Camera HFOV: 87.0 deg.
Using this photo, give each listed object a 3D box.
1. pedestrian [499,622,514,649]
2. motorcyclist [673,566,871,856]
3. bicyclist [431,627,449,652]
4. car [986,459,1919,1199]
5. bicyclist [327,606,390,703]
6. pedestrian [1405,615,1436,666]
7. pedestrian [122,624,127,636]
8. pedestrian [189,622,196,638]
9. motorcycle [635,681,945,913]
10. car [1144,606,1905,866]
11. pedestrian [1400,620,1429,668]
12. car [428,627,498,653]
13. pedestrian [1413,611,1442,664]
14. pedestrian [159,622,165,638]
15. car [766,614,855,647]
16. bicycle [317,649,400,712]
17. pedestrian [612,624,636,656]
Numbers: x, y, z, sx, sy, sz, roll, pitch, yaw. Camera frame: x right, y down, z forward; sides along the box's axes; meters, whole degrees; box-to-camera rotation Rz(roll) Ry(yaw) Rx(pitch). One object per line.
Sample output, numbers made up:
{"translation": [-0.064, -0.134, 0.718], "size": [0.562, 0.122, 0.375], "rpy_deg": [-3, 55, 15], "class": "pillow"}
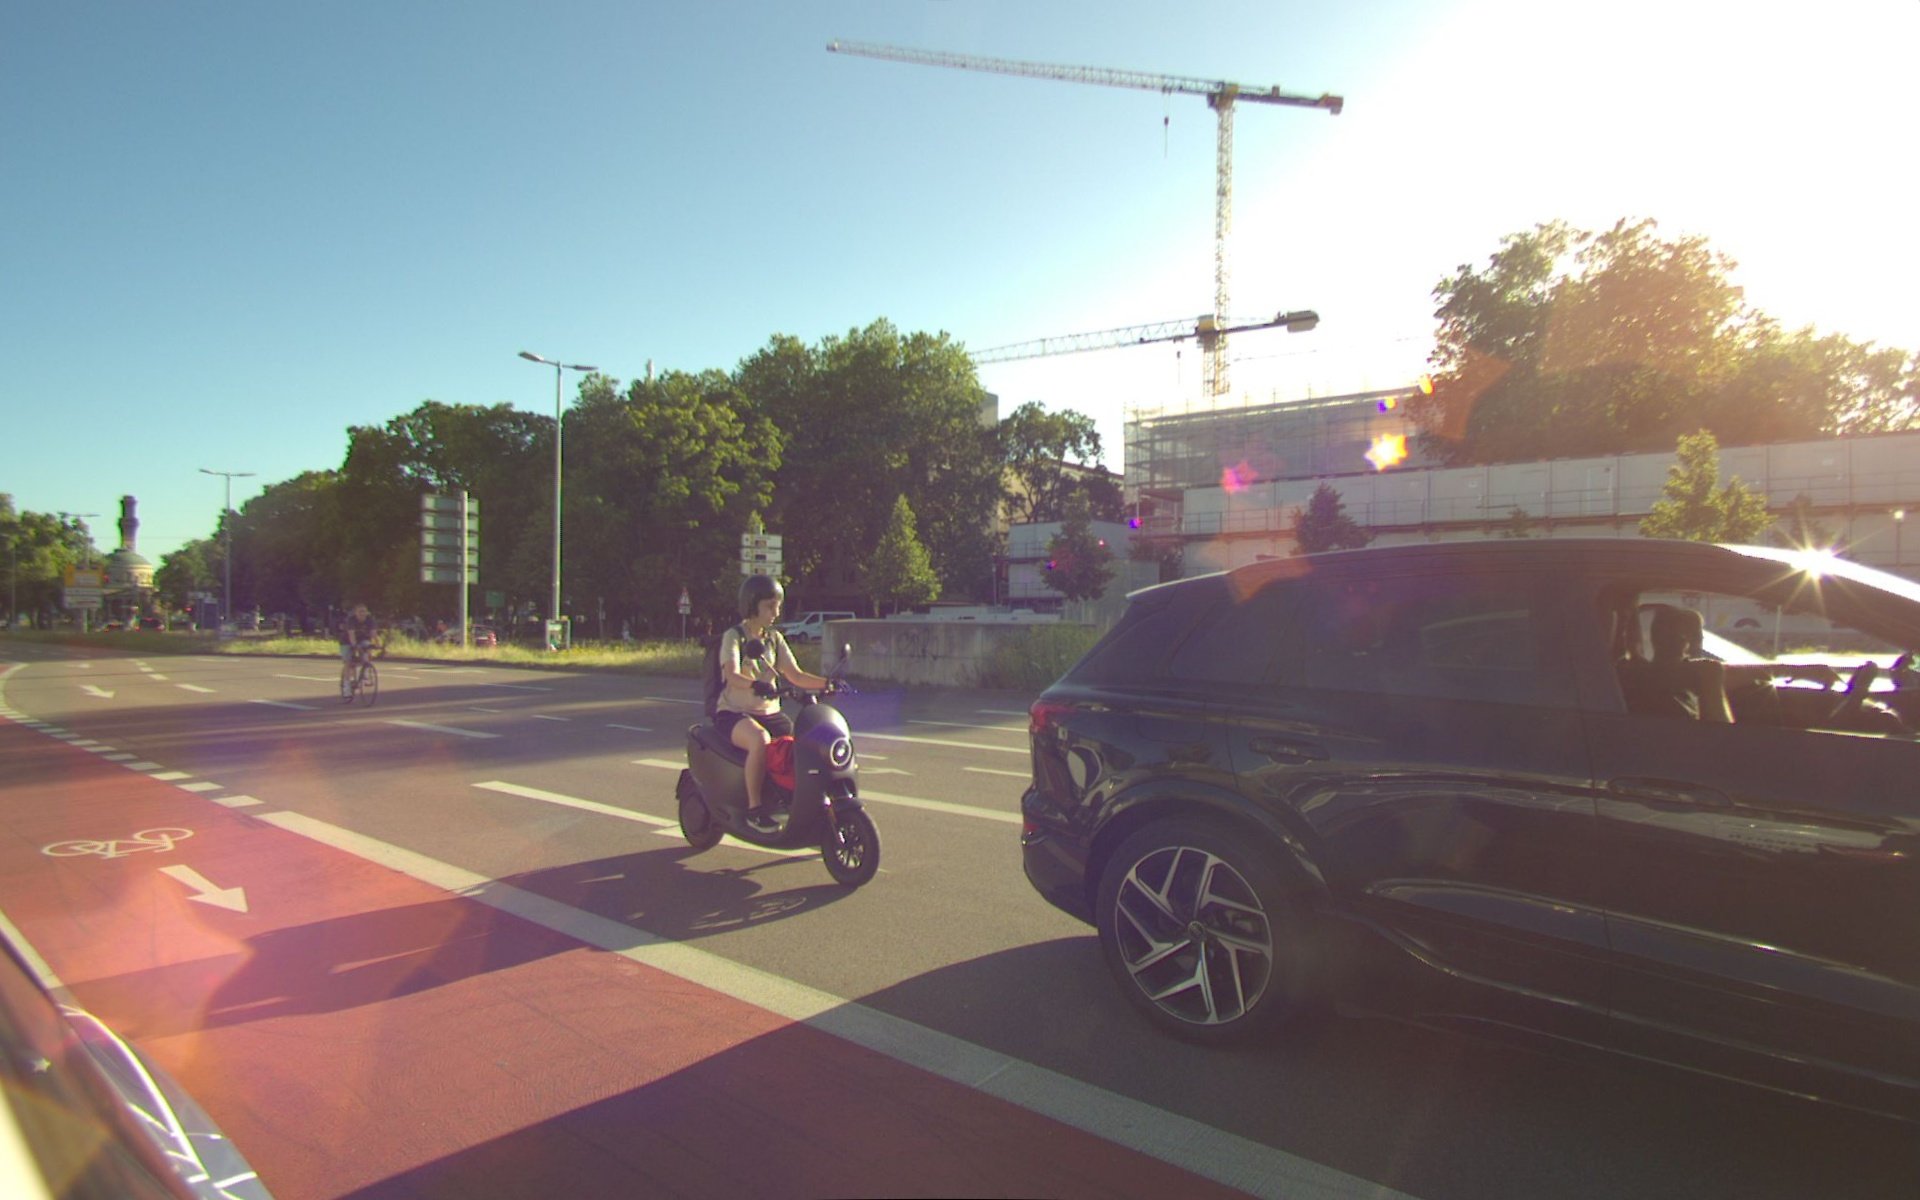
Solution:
{"translation": [-29.880, 2.346, 66.675], "size": [0.697, 1.740, 0.656], "rpy_deg": [-1, -2, 41], "class": "pedestrian"}
{"translation": [-1.083, 0.581, 5.810], "size": [0.746, 1.495, 0.882], "rpy_deg": [0, -1, -45], "class": "motorcyclist"}
{"translation": [-28.128, 2.123, 54.708], "size": [0.768, 1.377, 0.609], "rpy_deg": [-1, -2, 41], "class": "bicyclist"}
{"translation": [2.629, 0.553, 3.103], "size": [4.786, 1.675, 2.172], "rpy_deg": [-1, -2, 39], "class": "car"}
{"translation": [-9.691, 0.860, 16.295], "size": [0.937, 1.515, 0.616], "rpy_deg": [-1, -1, 42], "class": "bicyclist"}
{"translation": [14.564, 1.276, 31.998], "size": [0.654, 1.601, 0.829], "rpy_deg": [-1, -2, 41], "class": "pedestrian"}
{"translation": [-110.647, 3.949, 134.026], "size": [0.499, 1.570, 0.437], "rpy_deg": [-1, -2, 41], "class": "pedestrian"}
{"translation": [-95.565, 3.736, 126.016], "size": [0.594, 2.029, 0.519], "rpy_deg": [-1, -2, 38], "class": "pedestrian"}
{"translation": [-1.035, 1.011, 5.759], "size": [0.746, 0.976, 1.961], "rpy_deg": [0, -1, -45], "class": "motorcycle"}
{"translation": [3.793, 0.748, 7.473], "size": [4.522, 1.362, 1.753], "rpy_deg": [-1, -1, 40], "class": "car"}
{"translation": [14.072, 1.353, 31.343], "size": [0.654, 1.464, 0.596], "rpy_deg": [-1, -2, 41], "class": "pedestrian"}
{"translation": [-23.798, 1.906, 48.421], "size": [3.767, 1.141, 1.598], "rpy_deg": [-1, -1, 40], "class": "car"}
{"translation": [15.181, 1.220, 32.868], "size": [0.654, 1.693, 0.829], "rpy_deg": [-1, -2, 41], "class": "pedestrian"}
{"translation": [-100.388, 3.747, 127.321], "size": [0.594, 2.029, 0.519], "rpy_deg": [-1, -2, 38], "class": "pedestrian"}
{"translation": [-9.070, 1.853, 61.733], "size": [2.000, 1.906, 5.256], "rpy_deg": [-2, -3, 42], "class": "car"}
{"translation": [-9.752, 1.276, 16.376], "size": [1.910, 0.915, 0.616], "rpy_deg": [-1, -1, 42], "class": "bicycle"}
{"translation": [-19.862, 2.352, 59.757], "size": [0.964, 1.796, 0.984], "rpy_deg": [-1, 0, 41], "class": "pedestrian"}
